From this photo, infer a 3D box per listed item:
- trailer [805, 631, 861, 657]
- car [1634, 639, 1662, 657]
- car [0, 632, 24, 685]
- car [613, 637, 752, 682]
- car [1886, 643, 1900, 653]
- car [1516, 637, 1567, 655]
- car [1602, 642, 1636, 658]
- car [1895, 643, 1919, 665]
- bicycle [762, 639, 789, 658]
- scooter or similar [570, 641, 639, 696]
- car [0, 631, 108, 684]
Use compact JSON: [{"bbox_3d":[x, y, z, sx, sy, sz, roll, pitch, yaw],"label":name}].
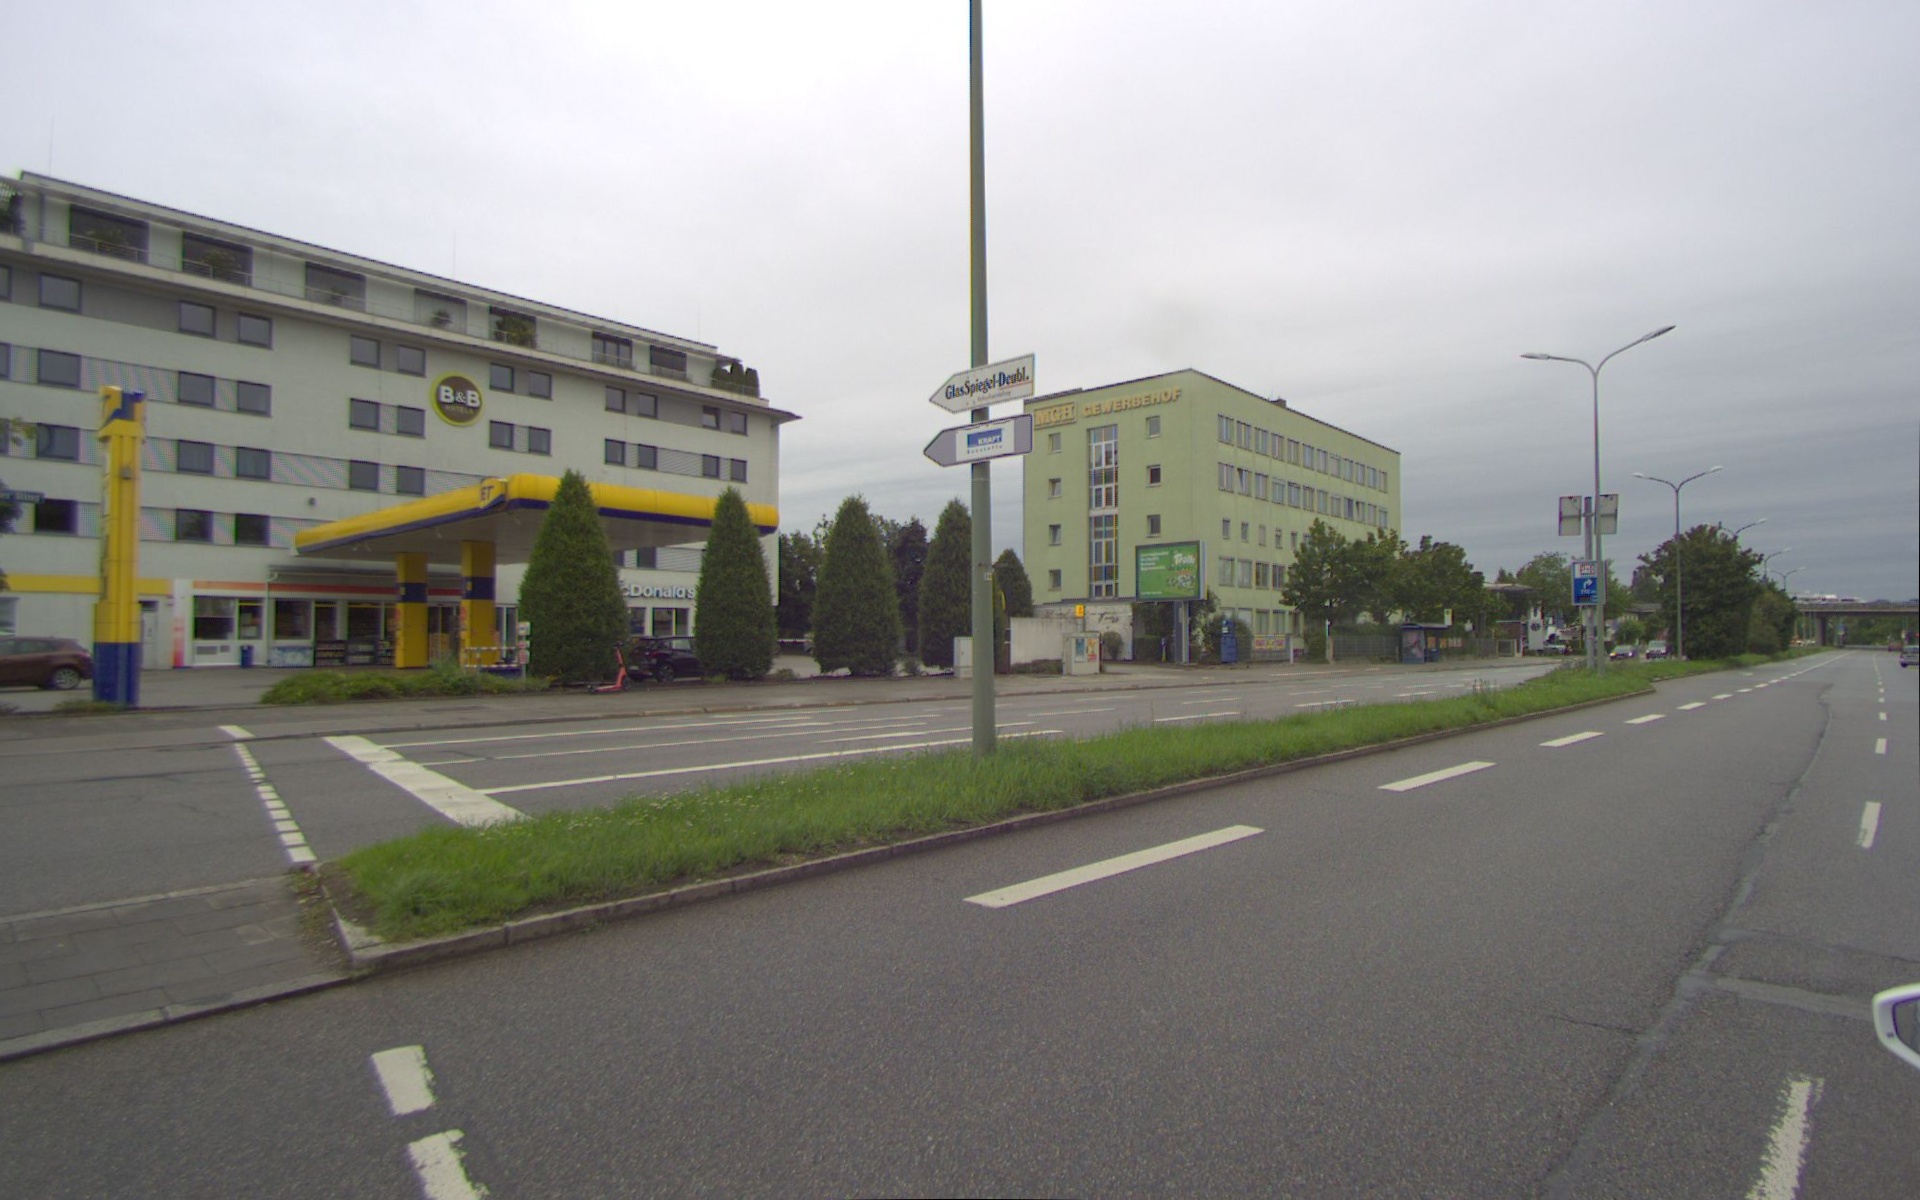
[{"bbox_3d":[-8.487,2.942,66.954,3.755,1.671,1.627,-3,-4,42],"label":"trailer"},{"bbox_3d":[75.604,5.270,110.345,1.971,1.986,4.302,-3,-4,41],"label":"car"},{"bbox_3d":[-28.901,1.646,28.039,1.607,1.505,3.954,-4,-4,44],"label":"car"},{"bbox_3d":[-8.803,1.883,32.043,1.774,1.349,3.980,-3,-4,41],"label":"car"},{"bbox_3d":[158.644,8.193,170.831,1.716,1.568,4.281,0,-2,42],"label":"car"},{"bbox_3d":[63.896,5.082,110.378,4.556,1.866,1.801,-2,-3,20],"label":"car"},{"bbox_3d":[61.625,4.667,93.926,1.971,1.419,4.631,-3,-4,41],"label":"car"},{"bbox_3d":[70.654,3.942,73.681,3.975,1.578,1.808,2,-2,-27],"label":"car"},{"bbox_3d":[-11.244,2.964,61.246,0.442,1.130,1.870,-2,-3,33],"label":"bicycle"},{"bbox_3d":[-8.568,1.638,24.257,1.534,1.259,0.352,2,0,-43],"label":"scooter or similar"},{"bbox_3d":[-25.652,1.532,26.635,1.675,1.402,4.353,-3,-3,32],"label":"car"}]
